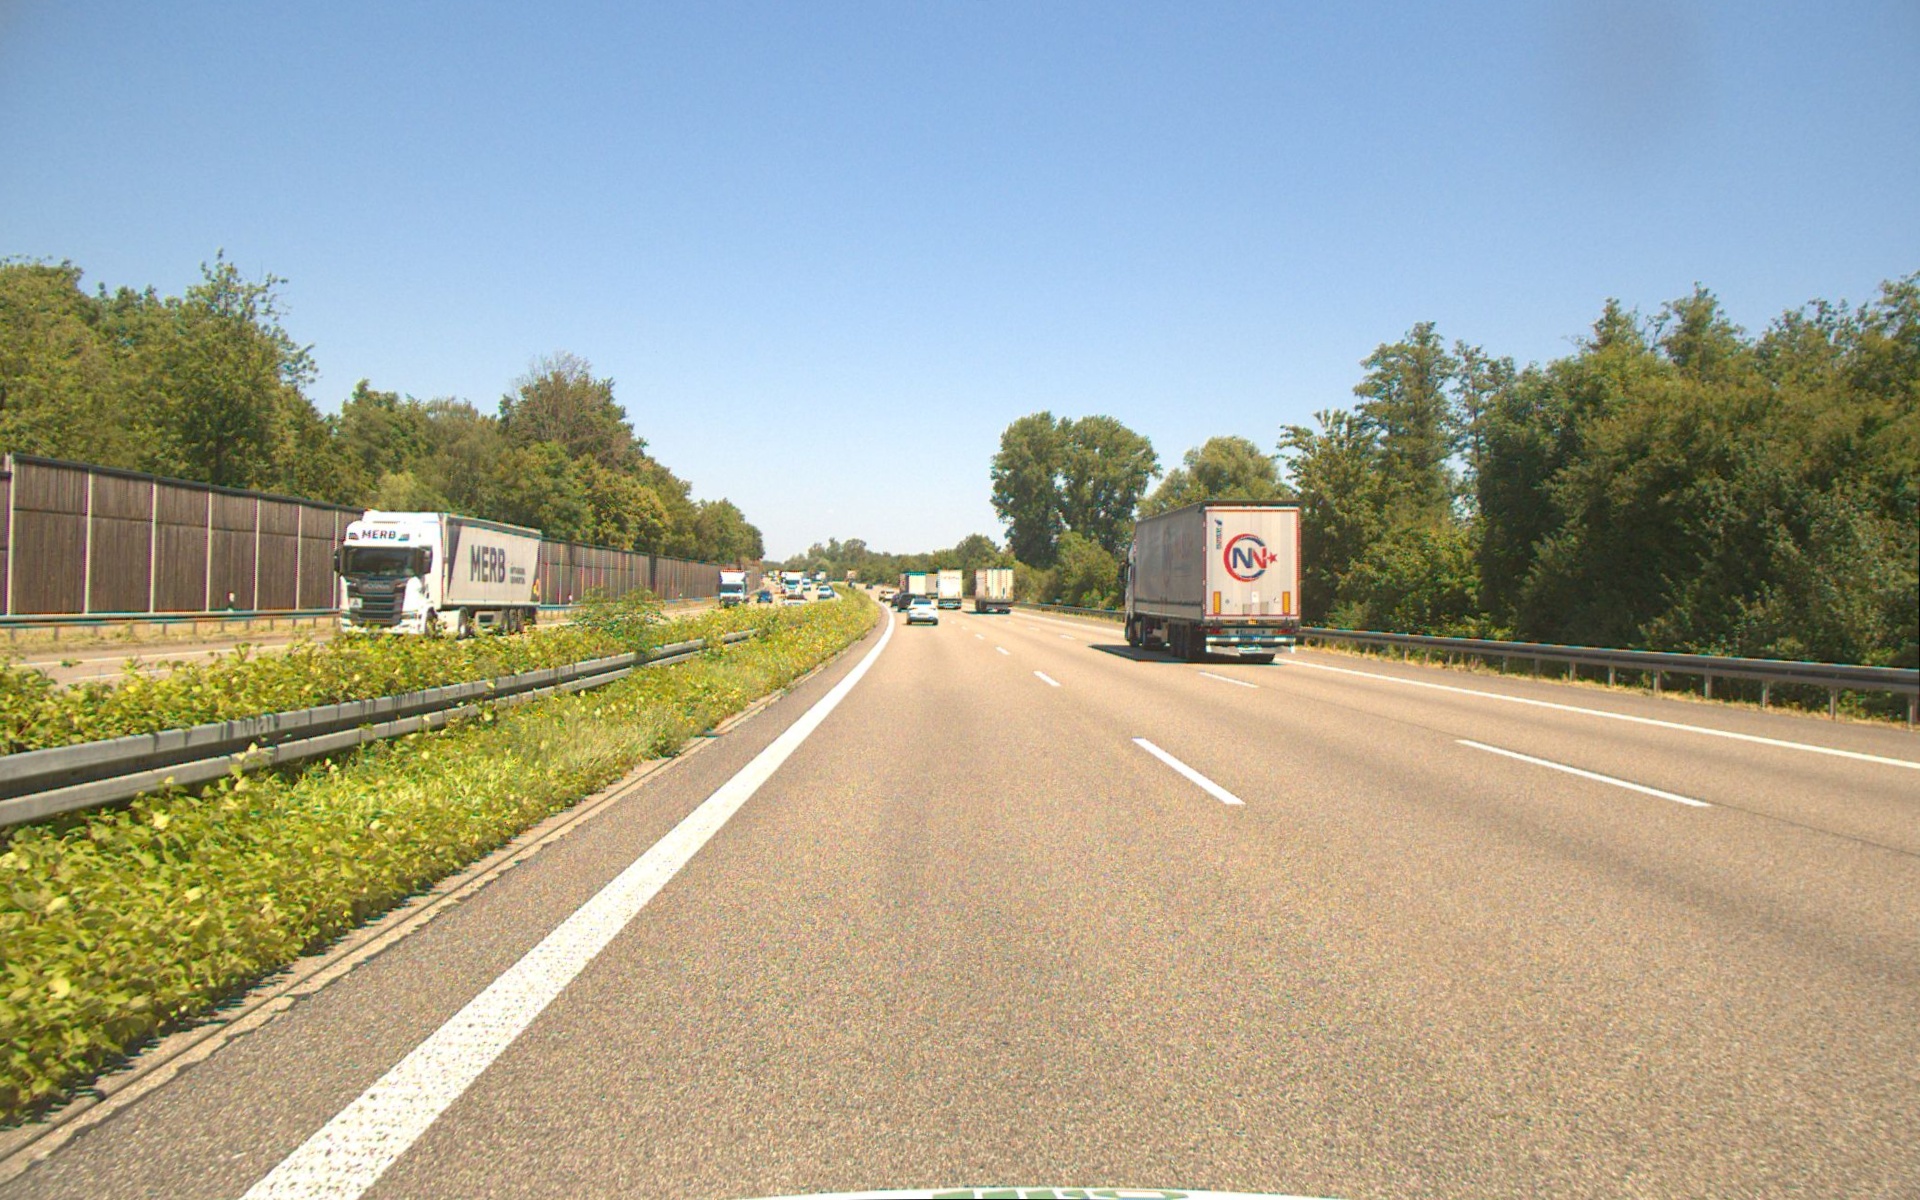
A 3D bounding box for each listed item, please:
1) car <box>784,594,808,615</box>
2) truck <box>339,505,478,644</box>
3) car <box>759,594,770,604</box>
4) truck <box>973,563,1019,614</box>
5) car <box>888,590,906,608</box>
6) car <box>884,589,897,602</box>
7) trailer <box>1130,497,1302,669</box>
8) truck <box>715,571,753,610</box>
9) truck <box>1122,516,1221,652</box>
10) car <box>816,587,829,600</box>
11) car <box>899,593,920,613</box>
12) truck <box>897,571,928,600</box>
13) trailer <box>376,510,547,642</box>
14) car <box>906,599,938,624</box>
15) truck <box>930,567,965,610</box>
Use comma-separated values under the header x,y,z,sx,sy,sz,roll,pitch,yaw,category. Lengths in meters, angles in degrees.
x,y,z,sx,sy,sz,roll,pitch,yaw,category
-12.899,0.356,130.131,1.551,1.616,3.999,1,0,-1,car
-17.421,-0.774,52.652,2.469,4.137,6.368,1,0,-2,truck
-24.631,-0.134,208.211,1.254,1.277,3.026,0,0,-3,car
3.161,-1.032,150.364,3.422,4.386,10.982,1,0,-3,truck
-7.186,-0.115,187.128,1.954,2.049,3.997,0,0,-3,car
-9.969,-0.667,237.193,1.689,1.814,3.997,0,0,-3,car
7.224,-0.432,48.980,2.571,4.335,14.056,1,0,-1,trailer
-21.957,-0.950,161.106,2.776,3.672,8.740,1,0,-2,truck
7.068,-0.517,55.982,2.553,4.362,5.434,1,0,-1,truck
-20.775,-0.945,250.029,1.887,1.979,4.607,0,0,-3,car
-4.715,0.273,153.702,1.953,1.803,3.998,0,0,-2,car
-7.372,-2.225,255.463,3.512,4.386,12.170,1,0,-7,truck
-17.644,-0.782,59.713,2.434,4.208,13.648,1,0,-2,trailer
-2.178,0.673,95.315,1.680,1.393,3.375,0,0,0,car
-1.359,-1.205,177.972,3.292,4.386,10.822,1,0,-3,truck
